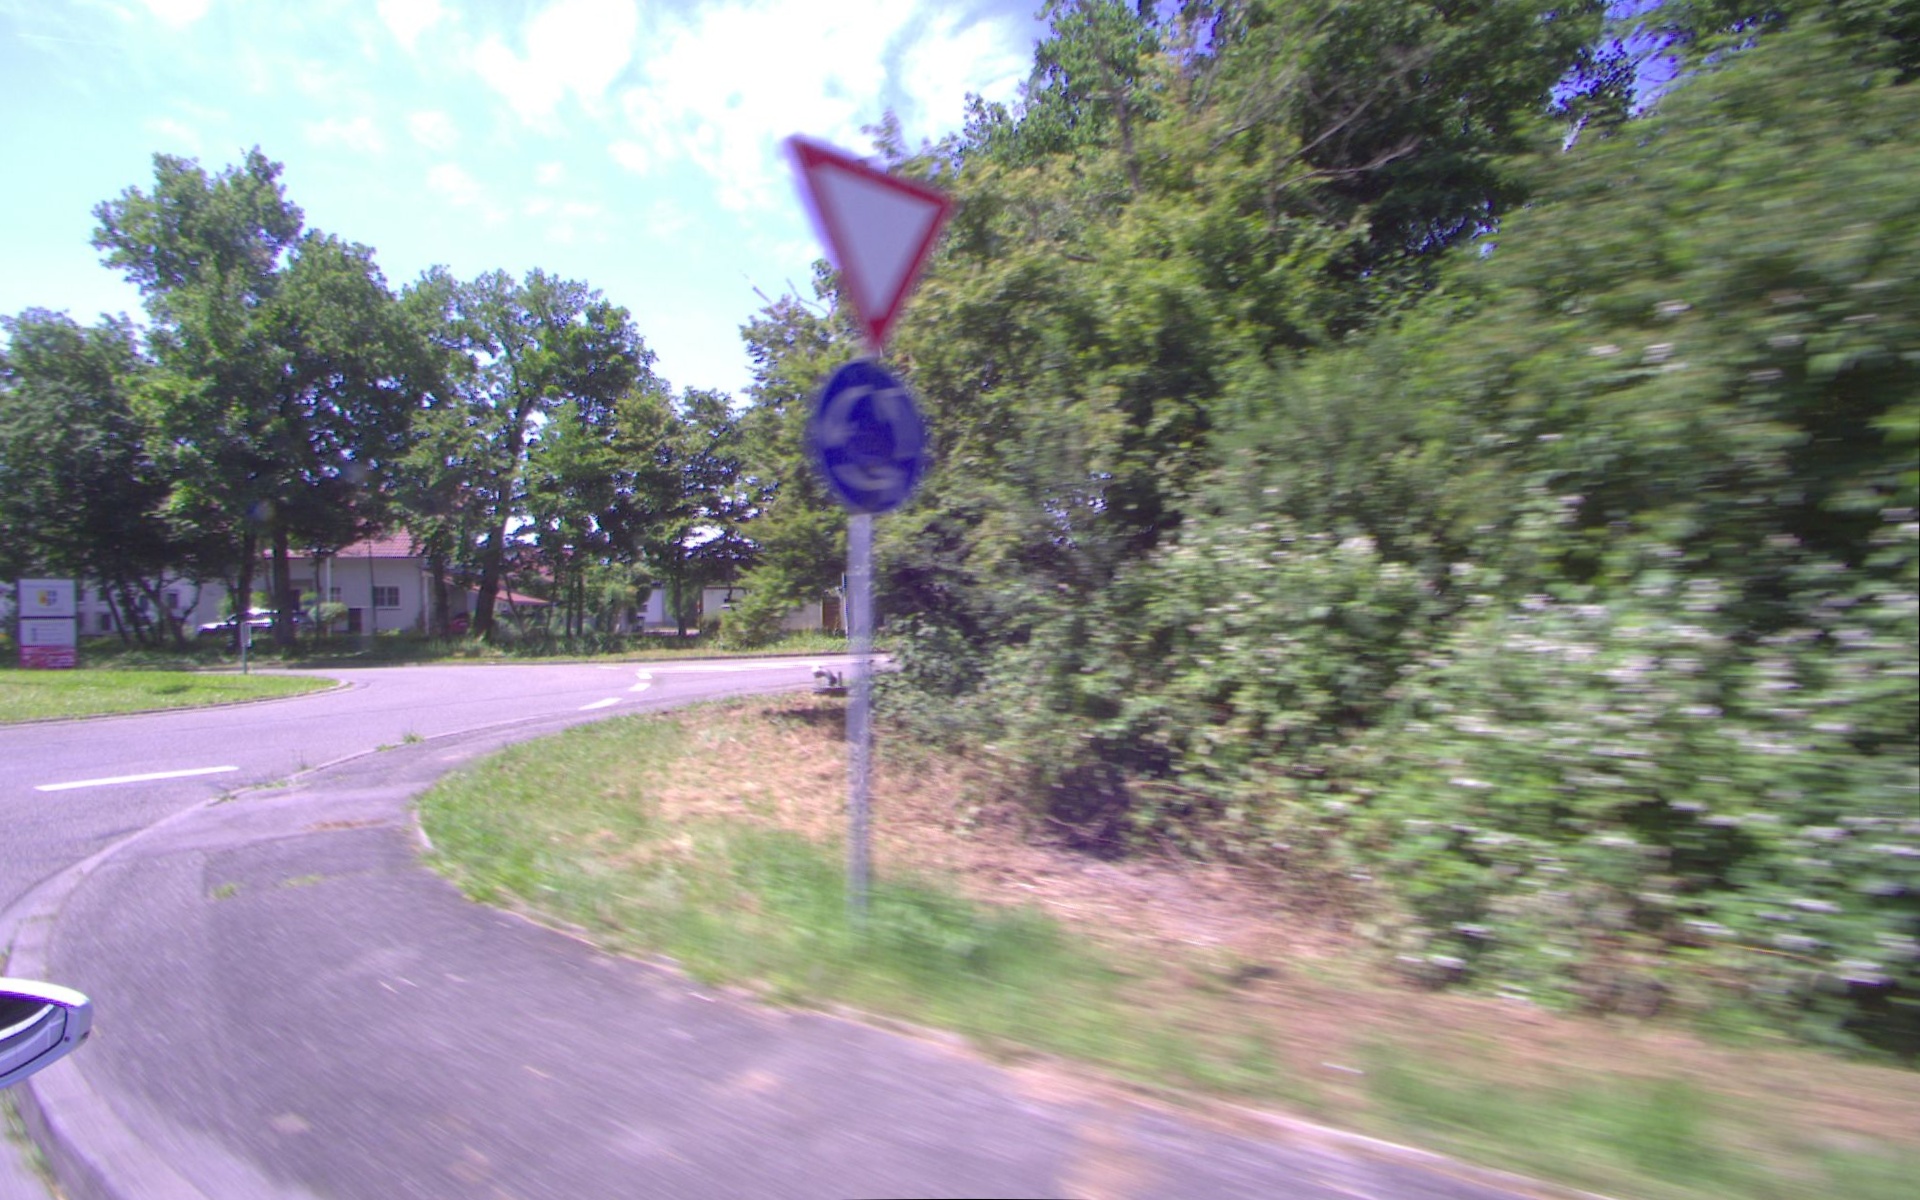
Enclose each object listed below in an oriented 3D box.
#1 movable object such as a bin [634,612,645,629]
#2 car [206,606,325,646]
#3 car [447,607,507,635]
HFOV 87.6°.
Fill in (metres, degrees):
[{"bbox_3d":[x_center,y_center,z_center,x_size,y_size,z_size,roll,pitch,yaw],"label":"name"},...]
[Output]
[{"bbox_3d":[-21.422,1.381,66.870,0.646,1.127,0.457,-1,1,-9],"label":"movable object such as a bin"},{"bbox_3d":[-31.241,1.154,45.171,4.065,1.727,1.665,0,0,-9],"label":"car"},{"bbox_3d":[-25.741,1.081,53.448,1.652,1.404,3.693,0,0,-5],"label":"car"}]
